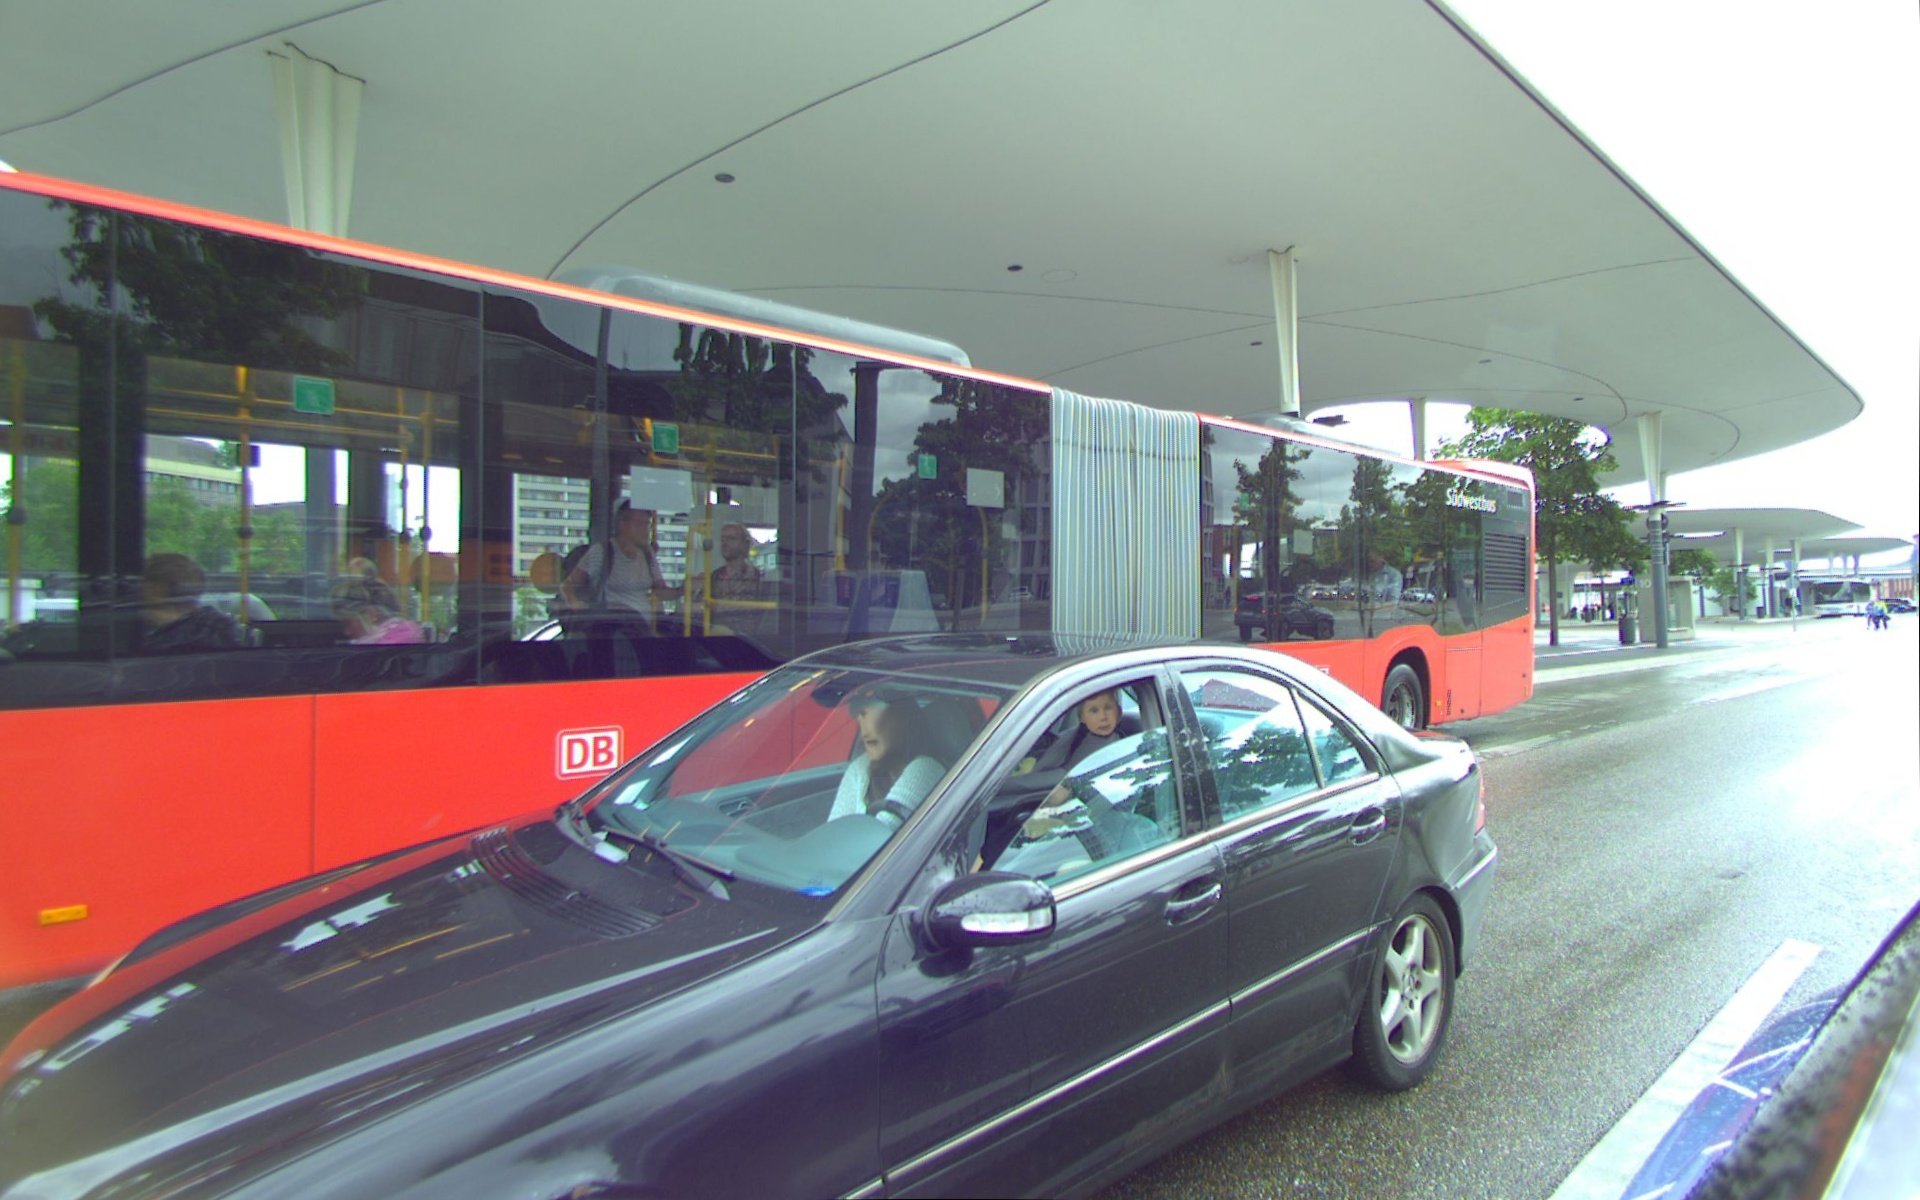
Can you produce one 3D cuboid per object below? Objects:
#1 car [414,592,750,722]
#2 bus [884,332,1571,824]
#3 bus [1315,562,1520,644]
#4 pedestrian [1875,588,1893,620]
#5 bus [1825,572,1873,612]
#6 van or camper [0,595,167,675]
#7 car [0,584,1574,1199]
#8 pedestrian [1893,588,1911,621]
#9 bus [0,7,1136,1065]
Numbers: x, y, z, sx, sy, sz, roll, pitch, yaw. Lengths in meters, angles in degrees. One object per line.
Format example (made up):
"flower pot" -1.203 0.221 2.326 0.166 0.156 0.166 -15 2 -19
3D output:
"car" -5.525 0.758 15.125 4.356 1.670 1.803 0 -2 -41
"bus" 3.242 -0.158 10.283 7.978 3.214 2.747 0 0 -41
"bus" 20.028 0.131 43.701 12.134 3.147 3.001 0 -2 -40
"pedestrian" 47.646 0.219 52.194 0.577 1.645 0.576 0 -1 -41
"bus" 75.355 -0.665 85.705 2.666 3.169 9.565 -1 -1 43
"van or camper" -29.792 1.102 33.216 5.868 2.495 2.106 0 -1 -41
"car" 0.039 0.784 2.980 4.359 1.499 1.747 -2 -3 -42
"pedestrian" 48.127 0.239 51.703 0.543 1.645 0.556 0 -1 -41
"bus" -3.522 -0.198 4.364 10.016 3.214 2.747 0 0 -41
